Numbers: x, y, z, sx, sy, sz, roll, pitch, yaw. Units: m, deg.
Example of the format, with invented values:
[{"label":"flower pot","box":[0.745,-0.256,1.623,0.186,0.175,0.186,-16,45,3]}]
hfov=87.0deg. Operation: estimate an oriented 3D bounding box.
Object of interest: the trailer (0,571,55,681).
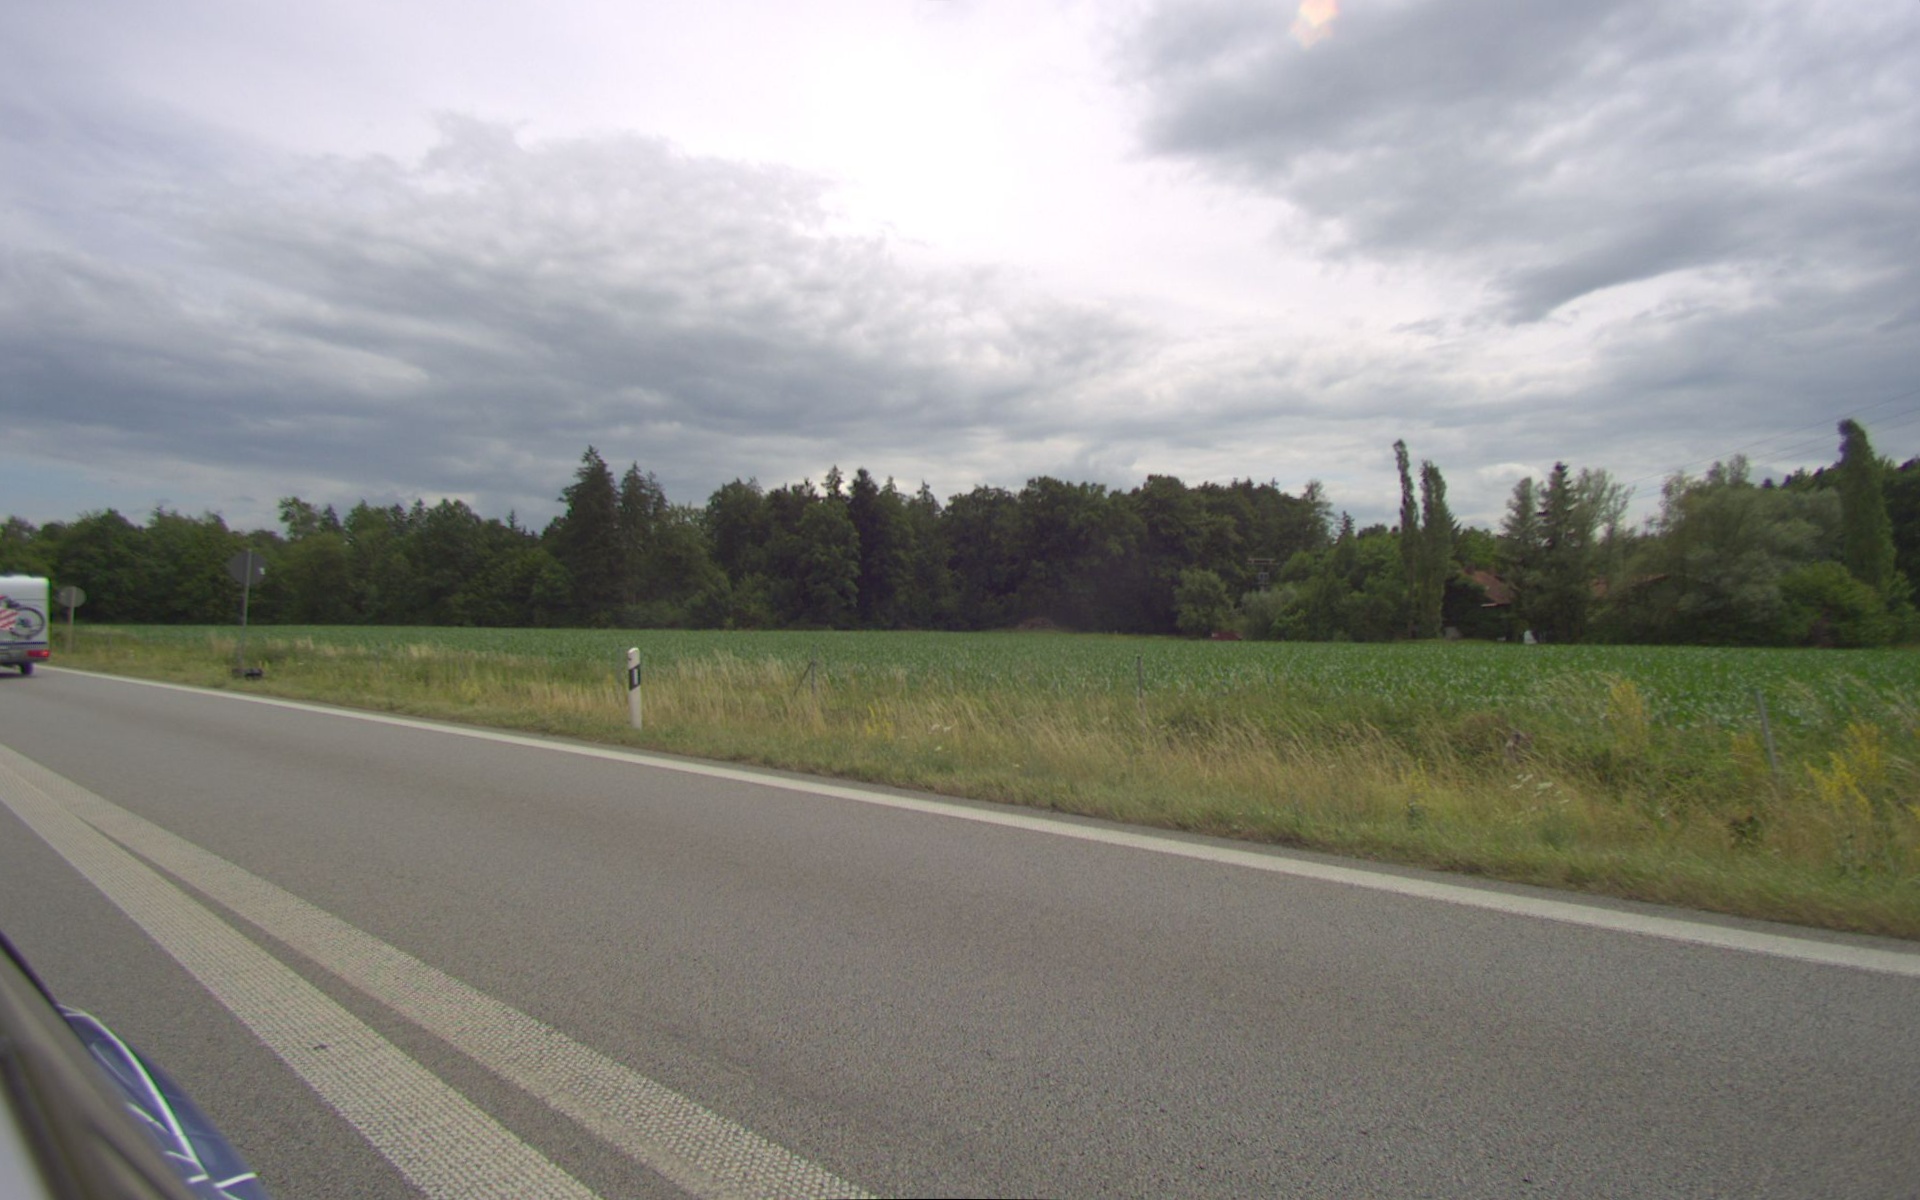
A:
[{"label":"trailer","box":[-25.082,0.646,25.788,6.239,2.594,2.160,-1,0,40]}]

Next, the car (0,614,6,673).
[{"label":"car","box":[-29.204,1.252,29.164,4.324,1.670,1.986,-1,0,40]}]
